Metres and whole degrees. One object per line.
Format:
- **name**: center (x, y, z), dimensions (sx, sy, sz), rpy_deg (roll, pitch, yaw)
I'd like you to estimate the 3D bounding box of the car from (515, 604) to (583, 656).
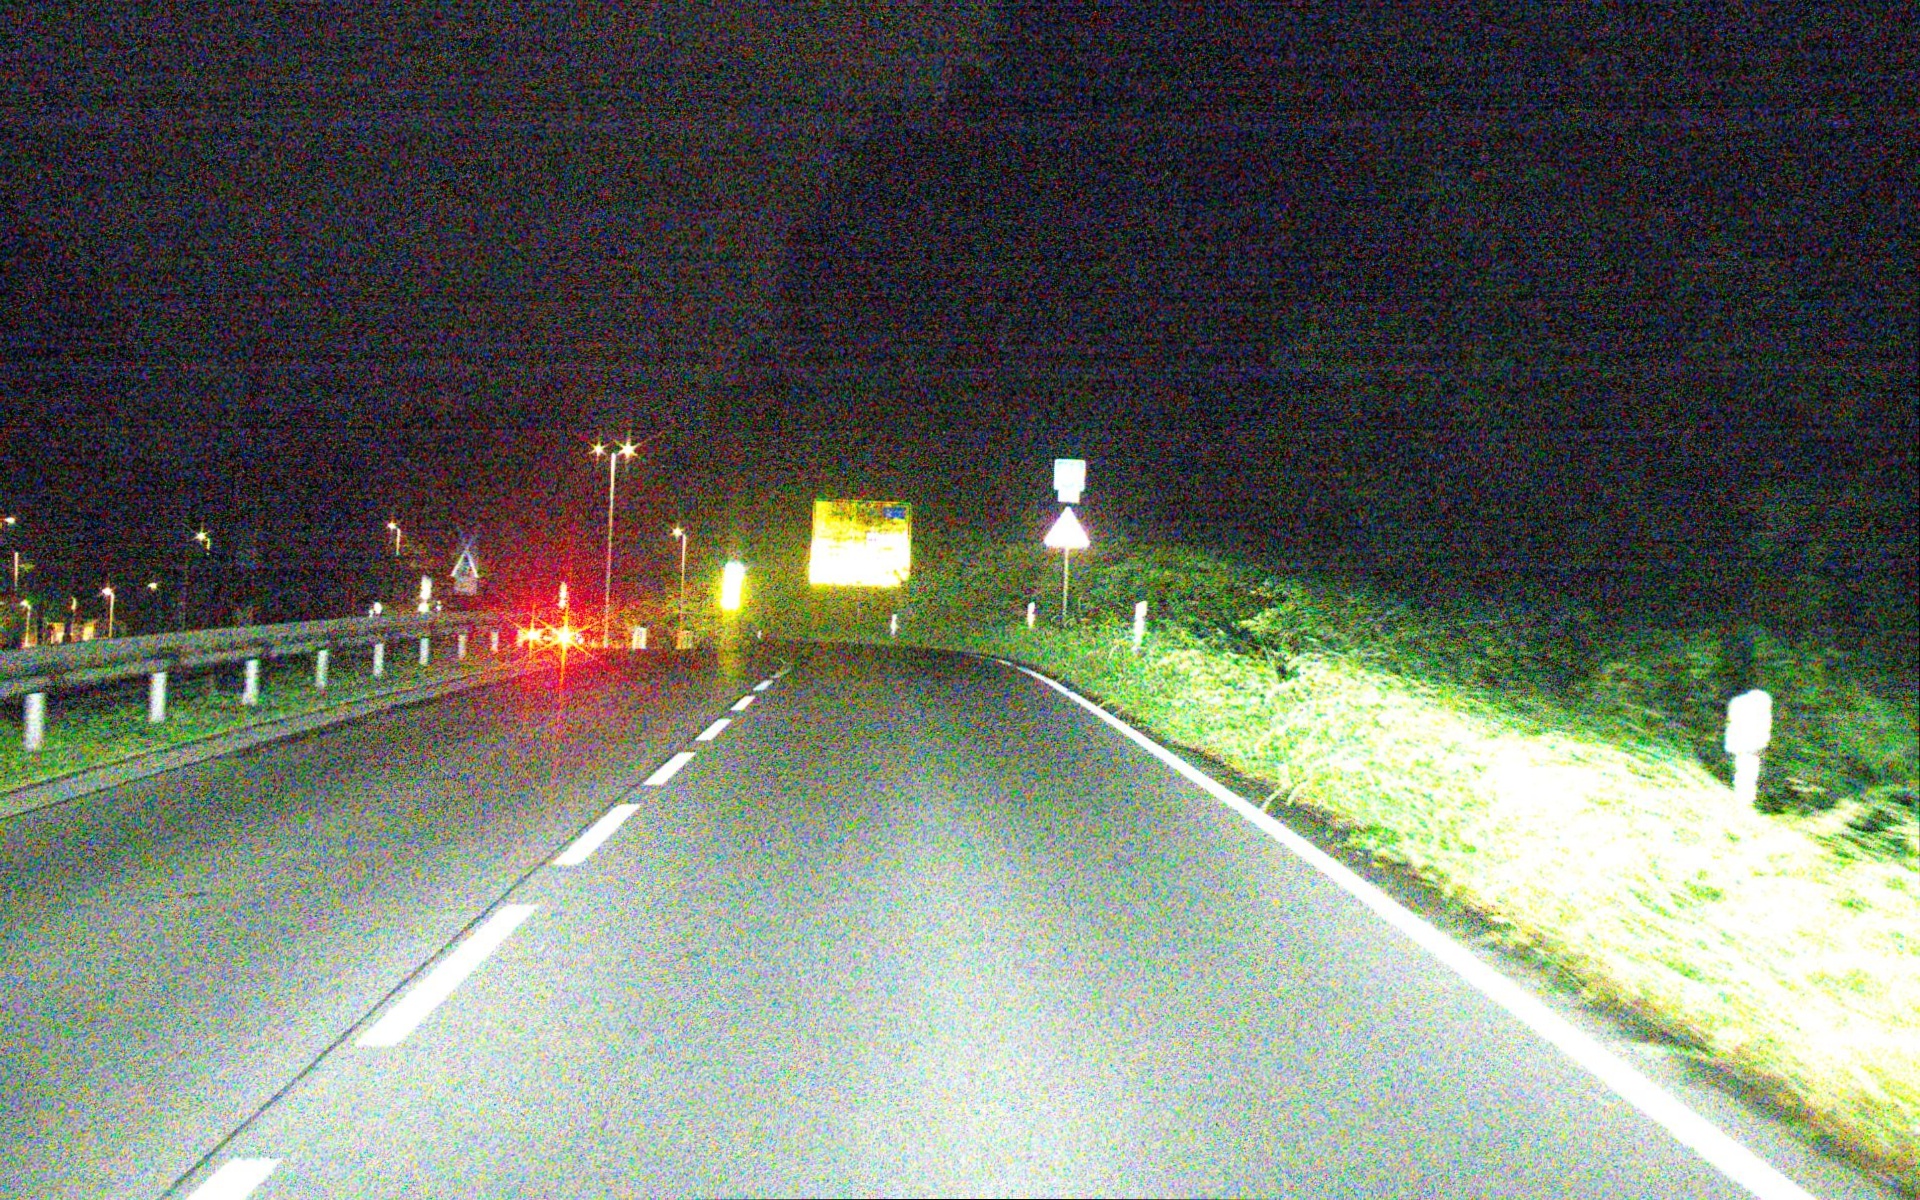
- **car**: center (-17.288, 1.268, 144.479), dimensions (1.993, 2.007, 4.001), rpy_deg (4, -2, -17)
